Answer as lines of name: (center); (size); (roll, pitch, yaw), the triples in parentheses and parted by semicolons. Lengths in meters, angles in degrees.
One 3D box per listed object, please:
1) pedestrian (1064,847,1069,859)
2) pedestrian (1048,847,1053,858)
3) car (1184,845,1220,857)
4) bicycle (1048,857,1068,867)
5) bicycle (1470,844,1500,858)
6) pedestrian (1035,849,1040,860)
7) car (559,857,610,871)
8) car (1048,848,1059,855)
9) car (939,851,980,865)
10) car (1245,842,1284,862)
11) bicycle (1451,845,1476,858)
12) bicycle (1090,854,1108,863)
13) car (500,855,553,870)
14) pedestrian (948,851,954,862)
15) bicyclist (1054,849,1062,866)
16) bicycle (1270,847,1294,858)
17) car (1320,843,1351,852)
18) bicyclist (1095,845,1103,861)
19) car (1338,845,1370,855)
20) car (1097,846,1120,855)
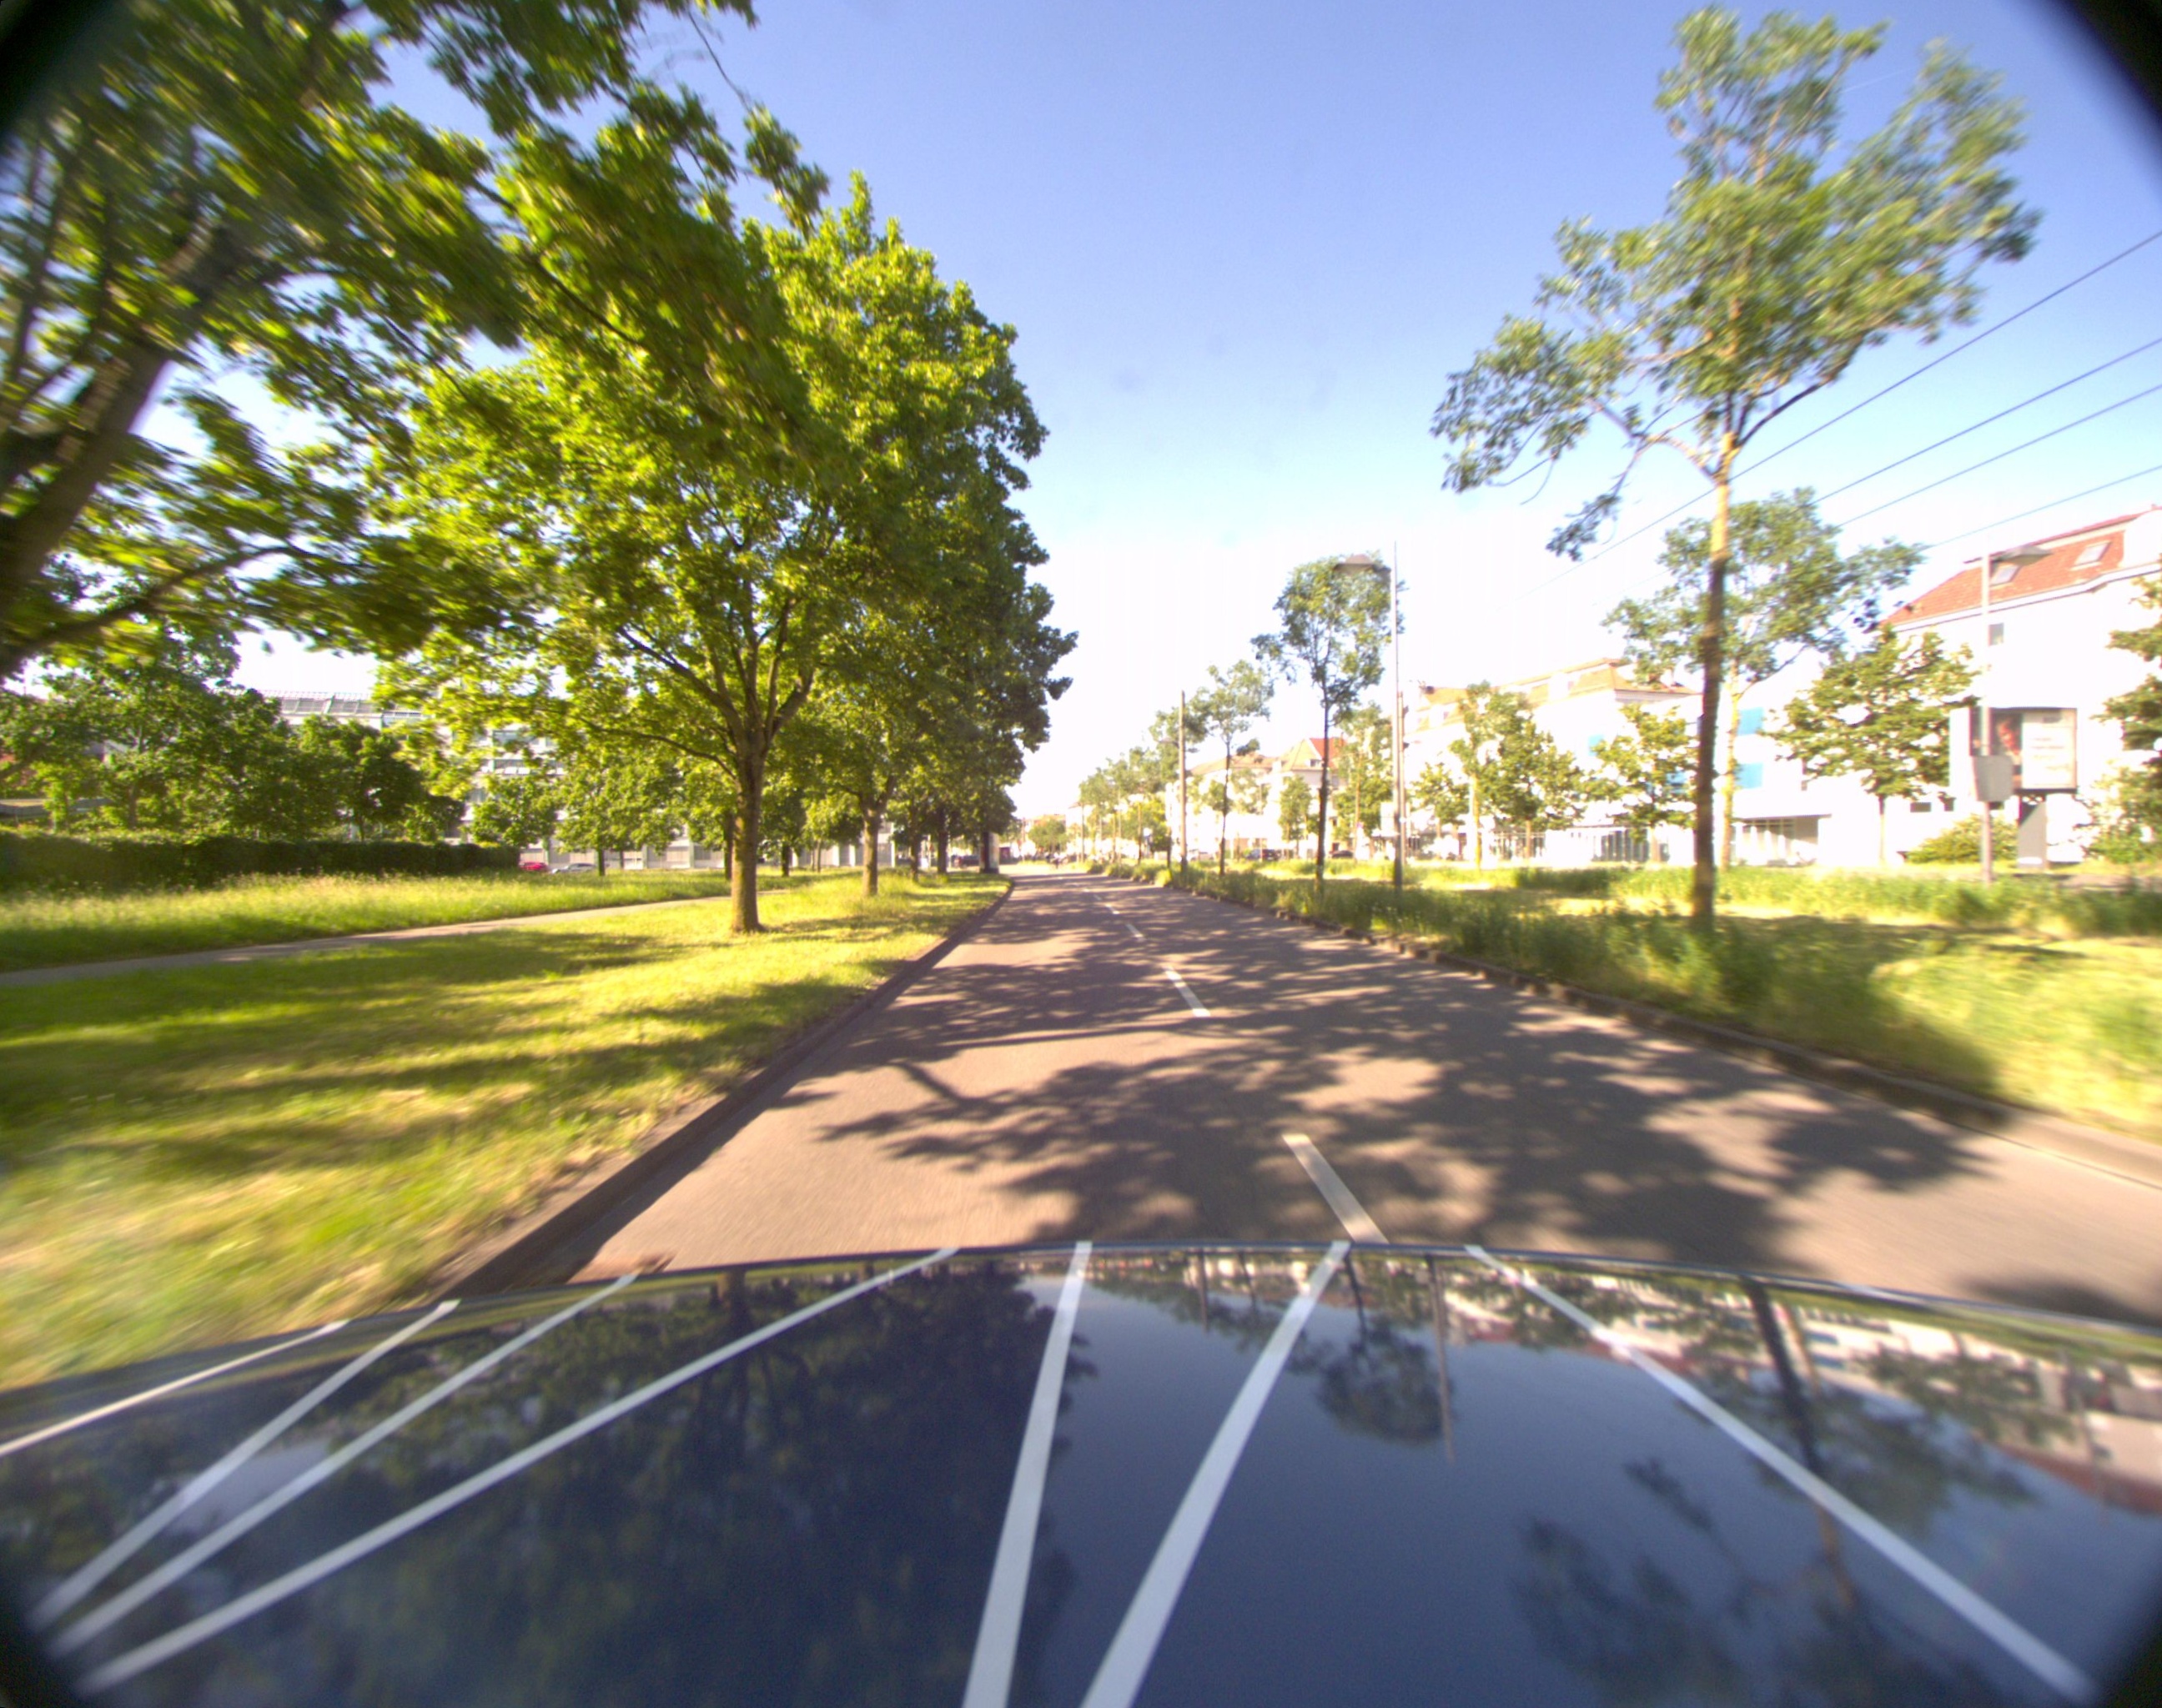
pedestrian: (-2.137, -0.118, 113.046); (0.723, 1.687, 0.607); (-1, 1, -10)
pedestrian: (-4.724, -0.247, 116.941); (0.733, 1.687, 0.734); (-1, 1, -10)
car: (16.177, -0.396, 101.747); (4.192, 1.457, 2.331); (-1, 1, -17)
bicycle: (-2.194, 0.780, 72.467); (1.829, 0.958, 0.855); (-1, 1, -9)
bicycle: (37.332, -0.262, 70.179); (2.553, 1.206, 0.719); (-1, 1, -10)
pedestrian: (-6.513, 0.111, 114.065); (0.641, 1.687, 0.607); (-1, 1, -14)
car: (-55.123, 1.088, 84.431); (4.291, 1.412, 1.916); (-1, 1, -19)
car: (-7.192, -0.612, 198.064); (1.835, 1.700, 4.235); (-1, 0, -16)
car: (-14.486, 0.487, 90.716); (4.634, 1.613, 1.997); (-1, 1, -14)
car: (16.443, -0.180, 68.294); (1.825, 1.631, 4.485); (-1, 0, -9)
bicycle: (36.143, -0.273, 71.793); (0.719, 1.206, 2.550); (-1, 0, -10)
bicycle: (1.822, 0.446, 76.805); (1.828, 0.958, 0.816); (-1, 1, -3)
car: (-61.456, 0.946, 84.320); (4.291, 1.585, 1.916); (-1, 1, -19)
pedestrian: (-19.017, 0.370, 111.031); (0.733, 1.687, 0.734); (-1, 1, -10)
bicyclist: (-2.197, 0.292, 72.463); (0.715, 1.591, 0.849); (-1, 1, -9)
bicycle: (23.507, -0.179, 88.724); (2.581, 1.152, 0.782); (-1, 1, -12)
car: (37.657, -0.921, 112.314); (4.092, 1.303, 1.700); (-1, 1, -17)
bicyclist: (1.804, -0.104, 76.796); (0.715, 1.682, 0.816); (-1, 1, -3)
car: (39.300, -0.545, 109.242); (4.092, 1.303, 1.700); (-1, 1, -17)
car: (5.269, -0.725, 145.752); (4.233, 1.700, 1.696); (-1, 1, 15)
